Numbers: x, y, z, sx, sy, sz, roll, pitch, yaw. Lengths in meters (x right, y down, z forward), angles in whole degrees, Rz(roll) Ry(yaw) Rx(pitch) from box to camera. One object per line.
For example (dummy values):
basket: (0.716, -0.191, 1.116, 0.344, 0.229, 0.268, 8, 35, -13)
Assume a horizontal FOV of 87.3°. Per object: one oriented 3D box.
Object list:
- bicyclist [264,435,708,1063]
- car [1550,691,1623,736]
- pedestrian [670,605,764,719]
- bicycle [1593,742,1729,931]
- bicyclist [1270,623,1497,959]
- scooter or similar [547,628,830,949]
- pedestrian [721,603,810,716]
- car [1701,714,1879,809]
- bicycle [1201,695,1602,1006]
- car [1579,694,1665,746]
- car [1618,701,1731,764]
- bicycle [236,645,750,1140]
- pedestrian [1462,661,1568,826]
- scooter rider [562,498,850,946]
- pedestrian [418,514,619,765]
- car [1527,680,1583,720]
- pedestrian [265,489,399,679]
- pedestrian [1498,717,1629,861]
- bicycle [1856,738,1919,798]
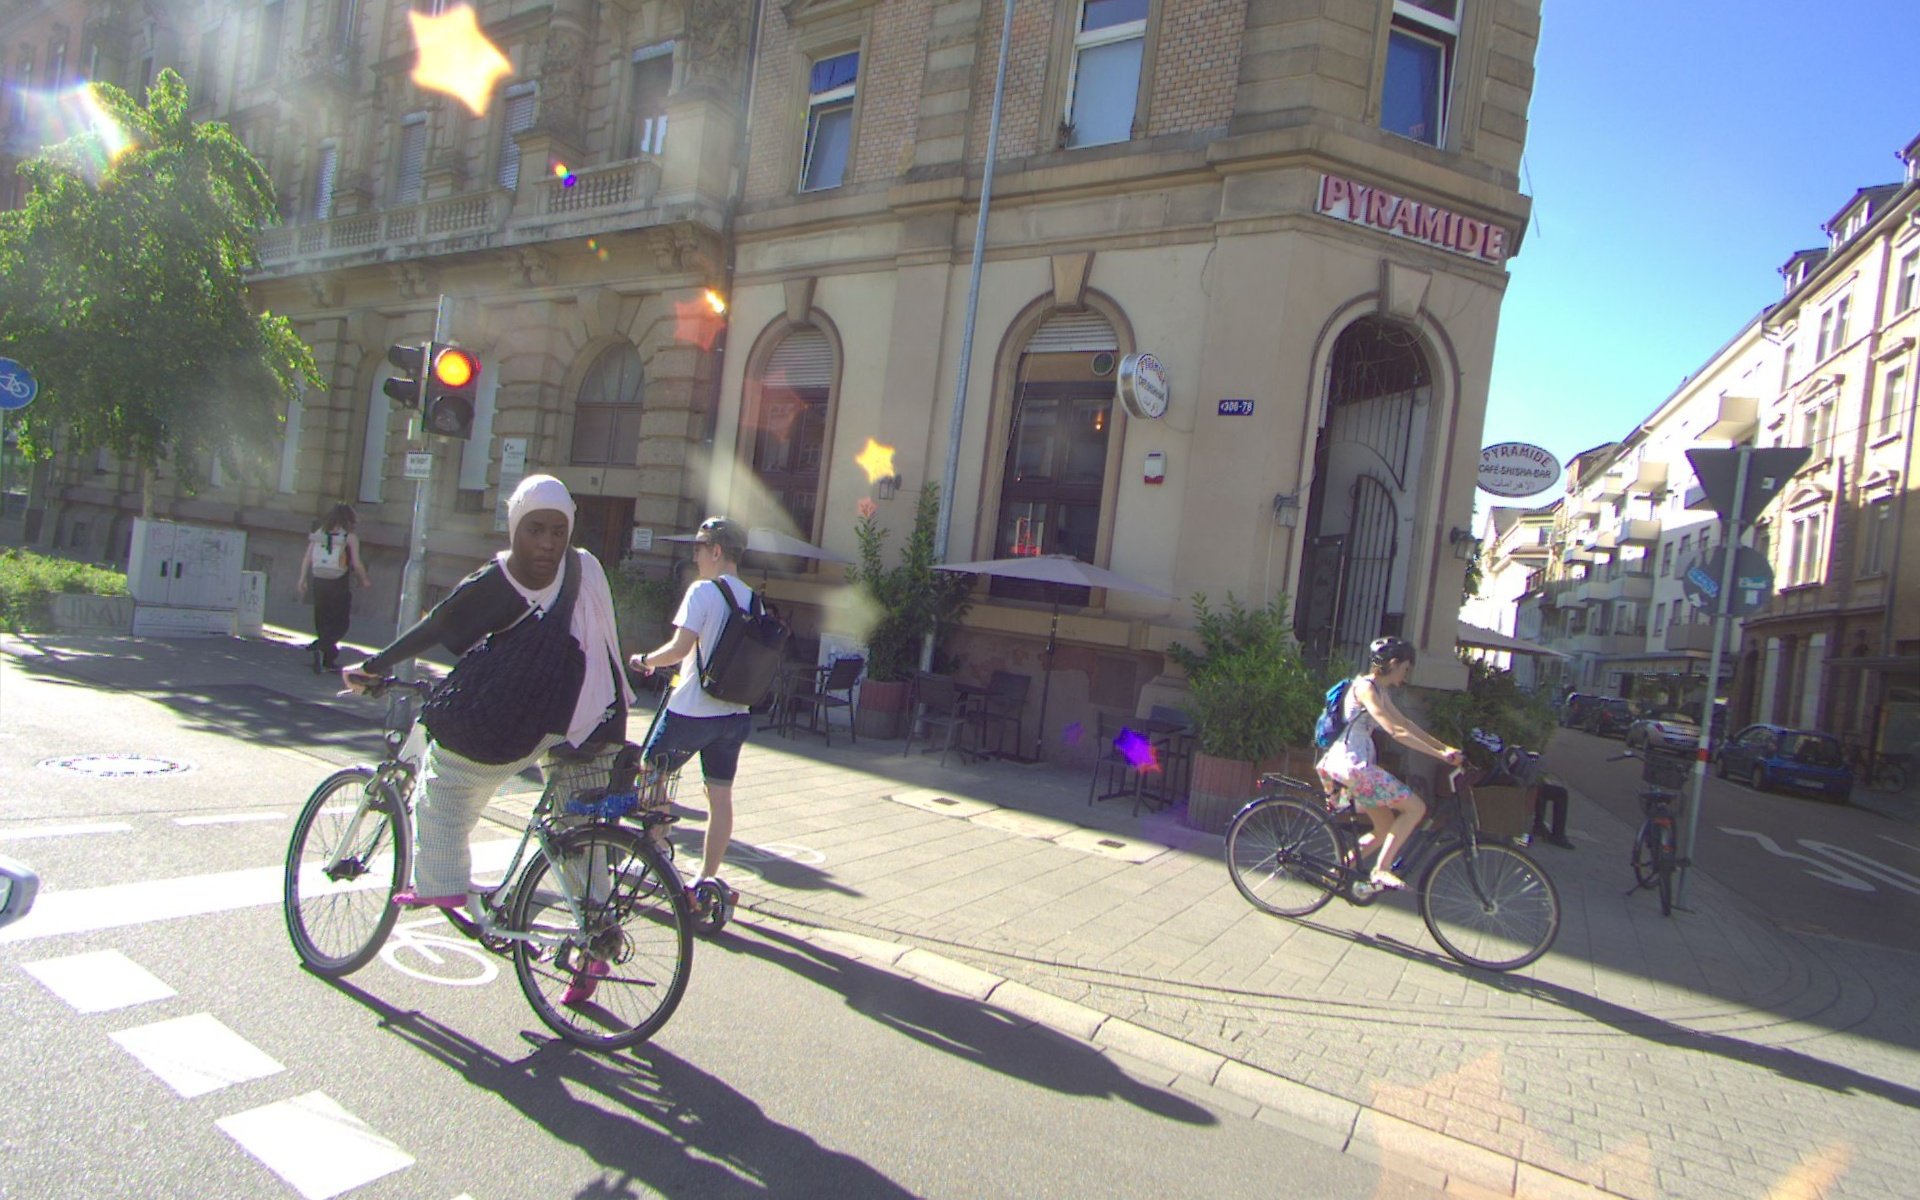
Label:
bicyclist: (-1.545, 0.414, 3.339, 0.854, 1.731, 0.781, 7, -2, 31)
car: (25.852, 4.652, 41.654, 1.769, 1.449, 3.773, 7, -1, 22)
pedestrian: (-2.764, 0.693, 11.462, 0.624, 1.193, 0.706, 7, 2, 31)
bicycle: (5.700, 1.843, 8.203, 0.643, 1.186, 1.818, 11, 2, 35)
bicyclist: (2.438, 1.032, 5.785, 0.944, 1.659, 0.667, 7, 1, 31)
scooter or similar: (-1.305, 0.837, 4.792, 1.151, 1.240, 0.492, 7, -2, 31)
pedestrian: (-2.338, 0.708, 12.129, 0.624, 1.252, 0.706, 7, 2, 31)
car: (18.512, 3.535, 22.676, 1.769, 1.437, 4.000, 9, 0, 22)
bicycle: (2.460, 1.322, 5.751, 1.868, 1.238, 0.584, 9, 1, 31)
car: (24.072, 4.313, 36.709, 1.769, 1.449, 3.773, 7, -1, 22)
car: (21.829, 4.014, 30.917, 1.769, 1.350, 4.000, 9, 0, 22)
bicycle: (-1.625, 0.831, 3.387, 1.762, 1.105, 0.558, 7, -2, 31)
pedestrian: (6.608, 1.681, 12.031, 0.852, 1.781, 0.909, 7, -1, 25)
scooter rider: (-1.205, 0.533, 4.818, 0.886, 1.882, 0.668, 7, -1, 31)
pedestrian: (-3.525, 0.311, 8.080, 0.953, 1.809, 0.867, 7, -1, 25)
car: (30.124, 5.035, 51.013, 1.769, 1.685, 3.772, 7, -1, 23)
pedestrian: (-6.918, -0.167, 11.141, 0.642, 1.932, 1.078, 7, 0, -4)
pedestrian: (6.106, 1.879, 10.237, 0.917, 1.228, 0.852, 7, -1, 25)
bicycle: (22.231, 3.971, 23.527, 0.621, 1.192, 2.014, 7, 0, 1)
